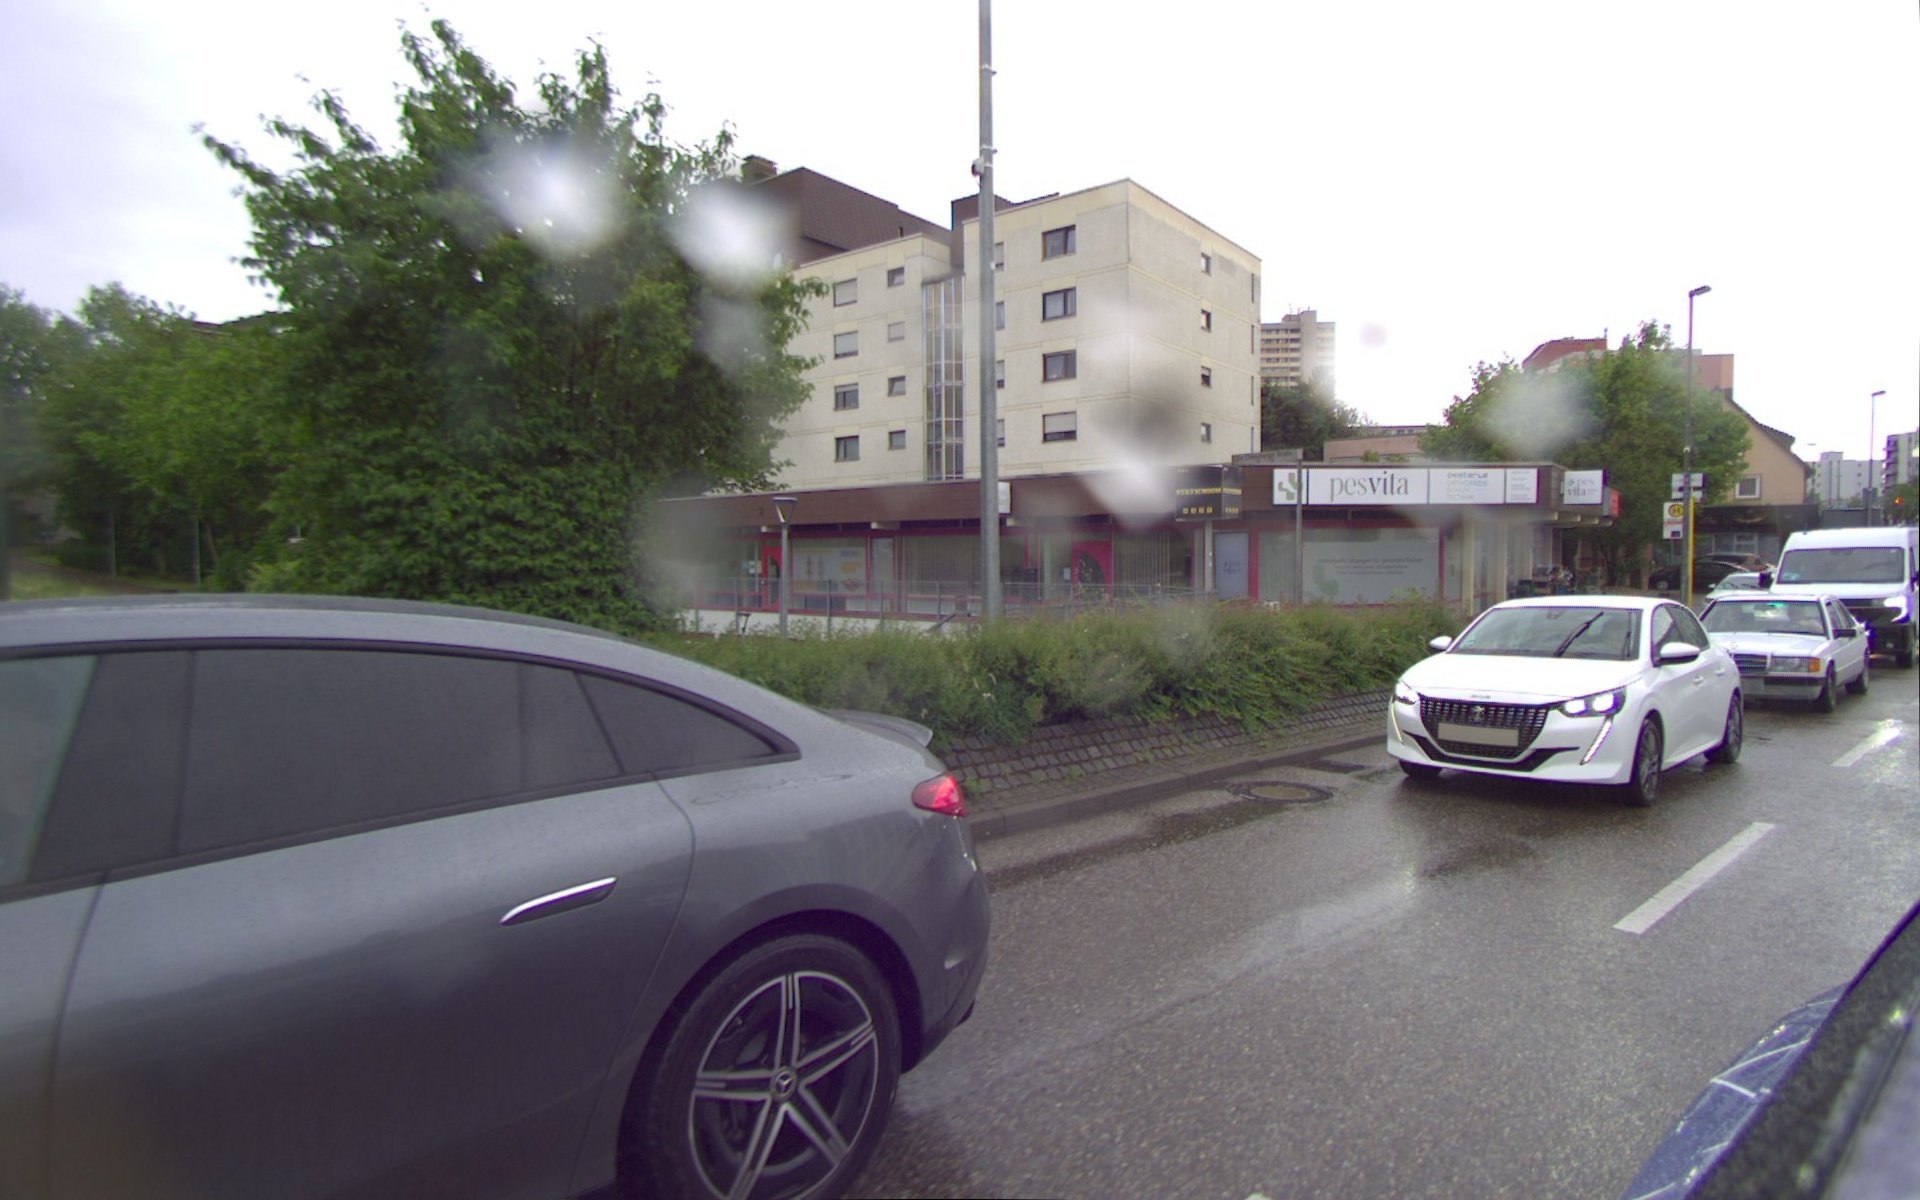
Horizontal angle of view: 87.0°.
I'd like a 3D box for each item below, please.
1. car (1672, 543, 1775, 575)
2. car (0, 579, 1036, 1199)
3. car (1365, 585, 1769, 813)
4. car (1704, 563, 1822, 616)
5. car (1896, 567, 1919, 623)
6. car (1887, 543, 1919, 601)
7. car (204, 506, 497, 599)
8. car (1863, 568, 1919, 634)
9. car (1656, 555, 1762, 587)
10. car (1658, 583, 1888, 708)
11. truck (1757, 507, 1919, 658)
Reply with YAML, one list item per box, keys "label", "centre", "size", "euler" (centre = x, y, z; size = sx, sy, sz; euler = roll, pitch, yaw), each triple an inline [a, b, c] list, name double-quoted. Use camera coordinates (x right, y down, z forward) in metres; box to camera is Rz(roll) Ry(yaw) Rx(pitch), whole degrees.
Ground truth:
- label: "car"
  centre: [37.424, -1.994, 49.654]
  size: [3.981, 1.438, 1.678]
  euler: [0, 1, 40]
- label: "car"
  centre: [-2.067, 0.702, 2.074]
  size: [4.471, 1.462, 1.834]
  euler: [-1, 0, -41]
- label: "car"
  centre: [5.122, 0.604, 8.323]
  size: [3.966, 1.415, 1.716]
  euler: [-1, 0, -41]
- label: "car"
  centre: [23.422, -0.340, 29.486]
  size: [3.737, 1.367, 1.998]
  euler: [-1, 4, -41]
- label: "car"
  centre: [28.536, -0.119, 29.228]
  size: [3.933, 1.571, 1.995]
  euler: [1, 1, -44]
- label: "car"
  centre: [35.126, -0.995, 36.466]
  size: [3.930, 2.038, 1.998]
  euler: [-1, 4, -40]
- label: "car"
  centre: [-17.070, -1.329, 28.876]
  size: [2.774, 2.299, 6.700]
  euler: [3, 3, 29]
- label: "car"
  centre: [23.400, -0.013, 24.590]
  size: [3.613, 1.505, 1.641]
  euler: [-1, -3, -41]
- label: "car"
  centre: [35.539, -1.351, 48.067]
  size: [3.981, 1.438, 1.972]
  euler: [0, 1, 40]
- label: "car"
  centre: [10.649, 0.490, 13.184]
  size: [3.670, 1.394, 1.716]
  euler: [-1, 0, -41]
- label: "truck"
  centre: [17.278, -0.350, 19.306]
  size: [6.092, 2.470, 2.167]
  euler: [-1, 2, -41]
